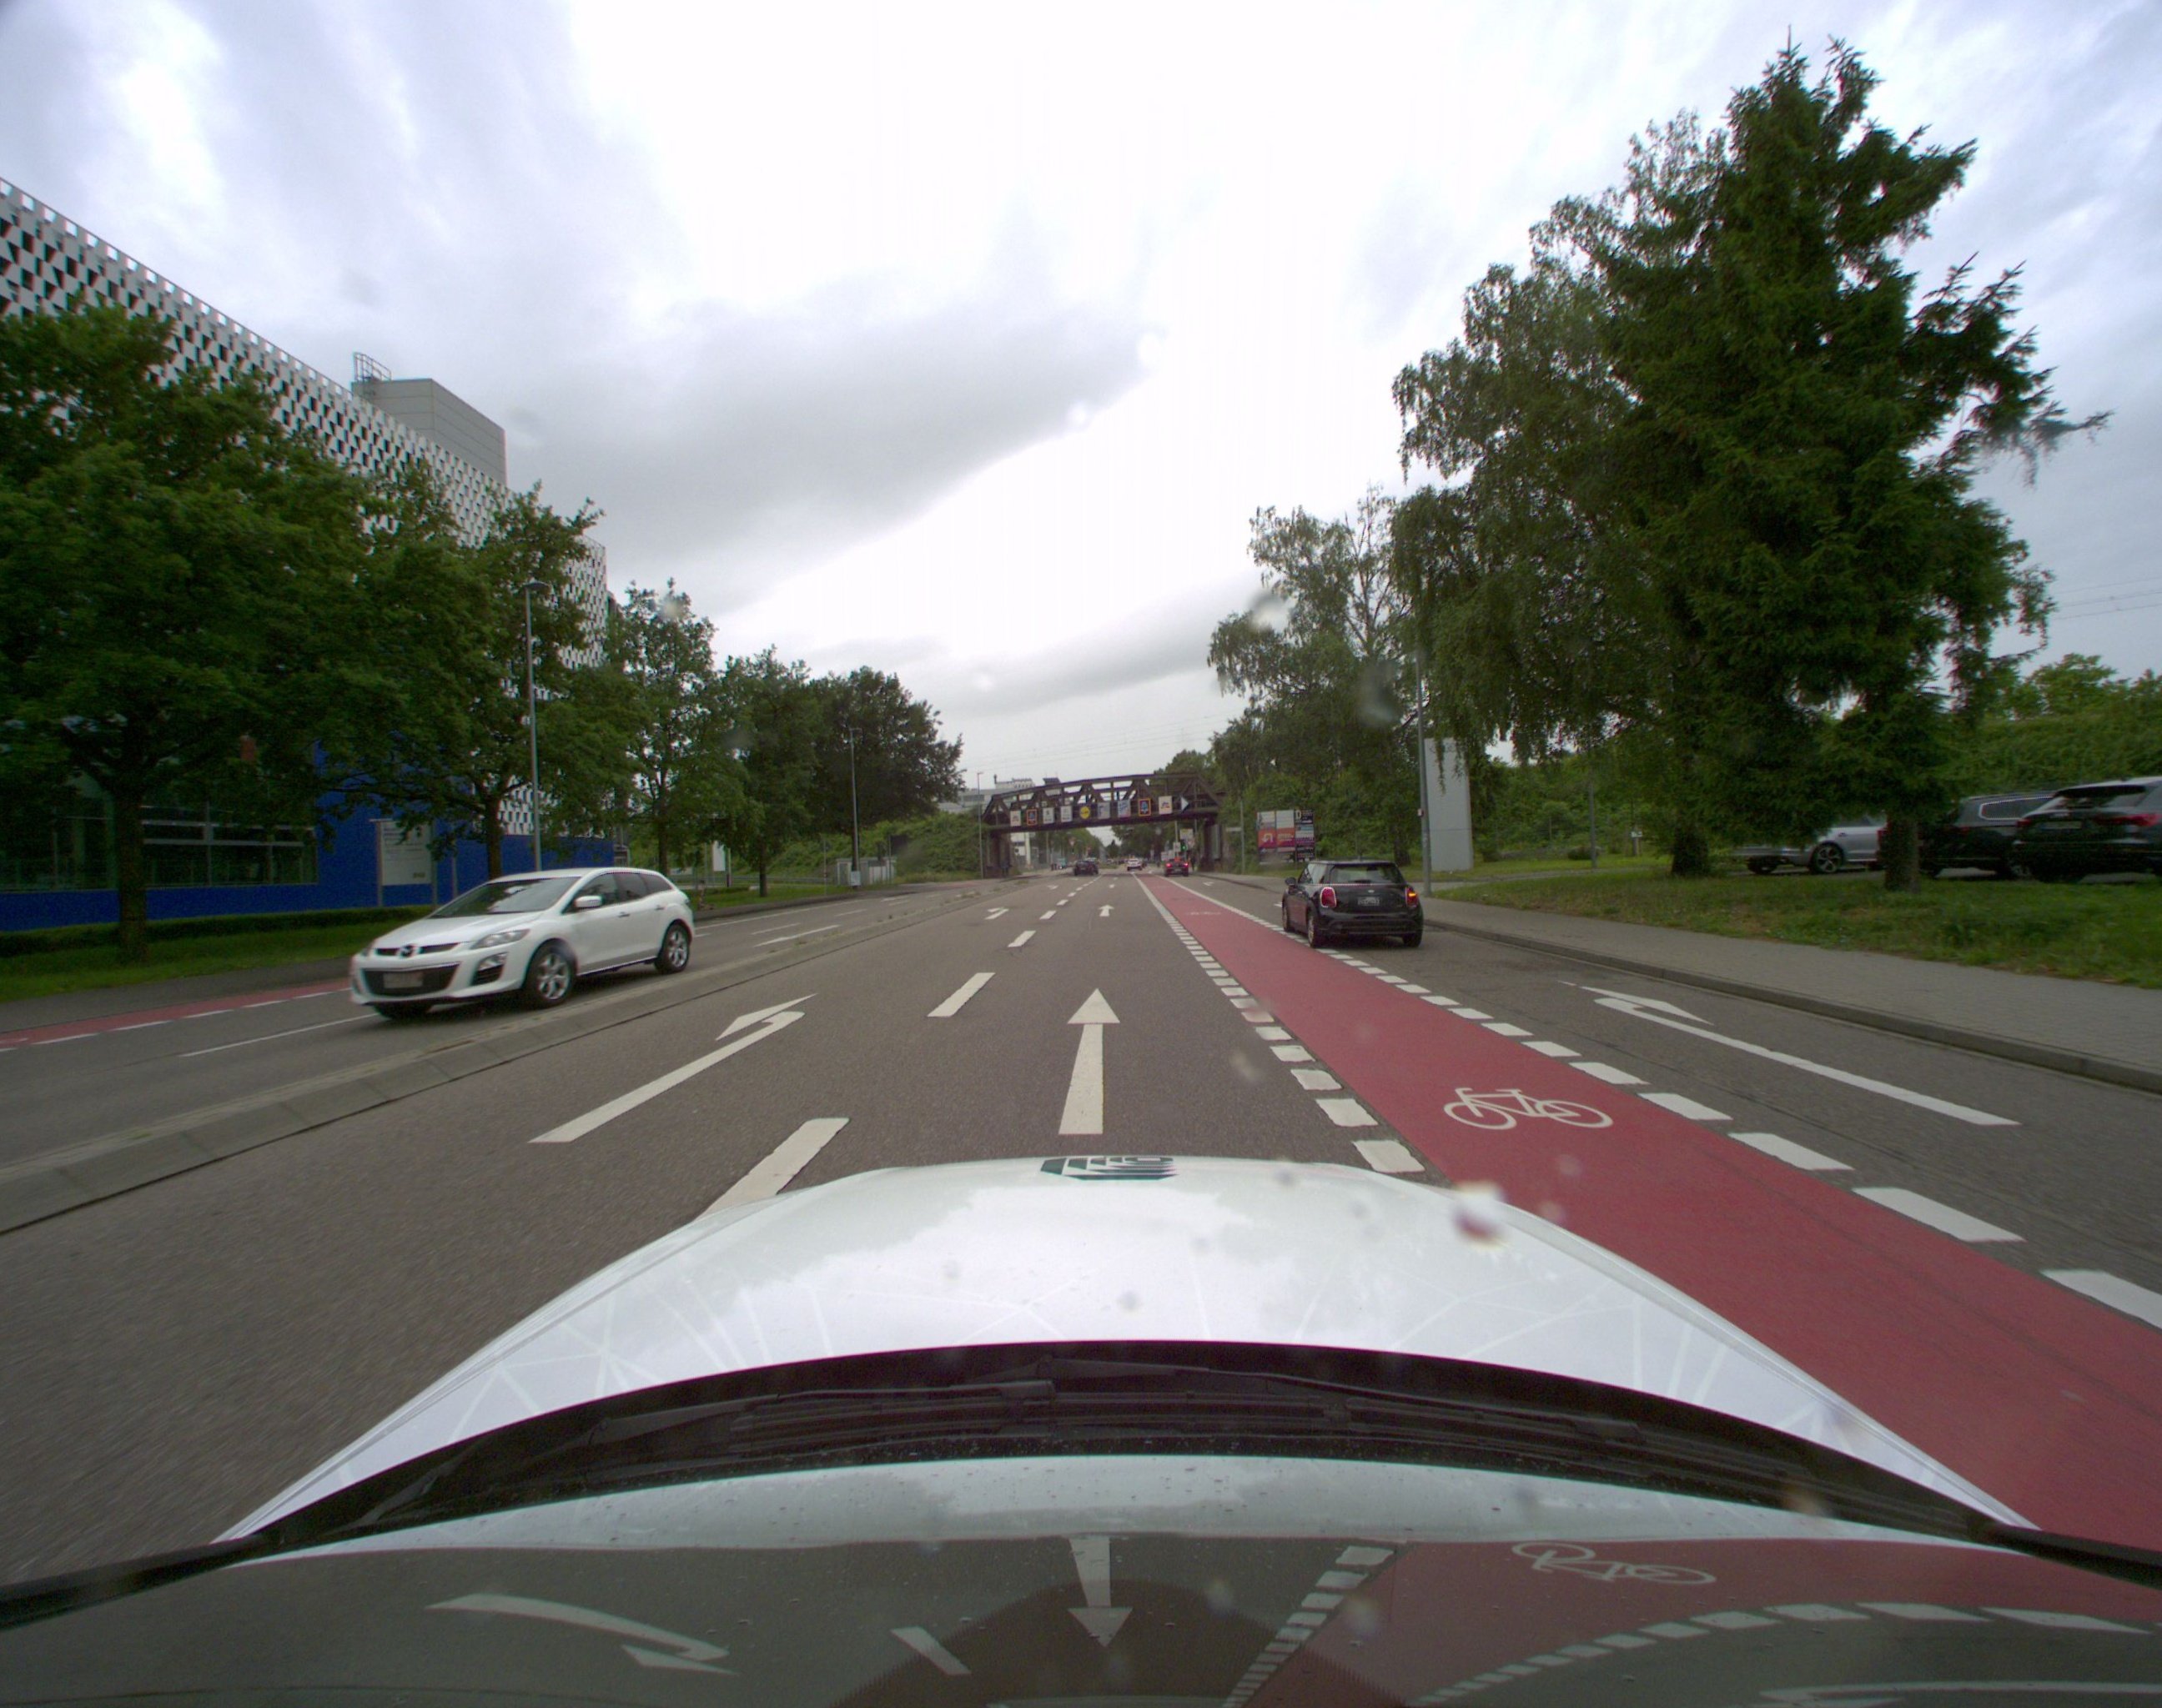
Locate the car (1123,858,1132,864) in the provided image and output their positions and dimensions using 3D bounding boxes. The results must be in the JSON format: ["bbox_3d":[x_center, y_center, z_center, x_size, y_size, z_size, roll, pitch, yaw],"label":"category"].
[{"bbox_3d":[10.670,1.628,188.693,1.790,1.513,3.704,-1,0,-1],"label":"car"}]

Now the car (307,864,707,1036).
[{"bbox_3d":[-6.962,1.016,10.654,1.811,1.587,4.515,-4,0,2],"label":"car"}]

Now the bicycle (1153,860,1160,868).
[{"bbox_3d":[10.772,1.422,115.861,0.813,1.212,2.684,-3,-1,2],"label":"bicycle"}]

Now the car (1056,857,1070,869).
[{"bbox_3d":[-4.178,2.084,191.865,2.317,2.826,5.958,-3,-1,6],"label":"car"}]

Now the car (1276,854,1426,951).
[{"bbox_3d":[4.481,0.730,14.061,1.671,1.431,3.780,-1,0,6],"label":"car"}]

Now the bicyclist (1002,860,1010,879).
[{"bbox_3d":[-7.599,1.576,82.655,0.699,1.874,1.020,-1,-1,3],"label":"bicyclist"}]

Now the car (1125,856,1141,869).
[{"bbox_3d":[6.682,1.090,105.099,1.818,1.600,3.774,-1,0,-1],"label":"car"}]

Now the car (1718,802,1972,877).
[{"bbox_3d":[17.212,-0.318,18.471,4.288,1.489,1.738,-2,0,-4],"label":"car"}]

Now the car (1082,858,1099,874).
[{"bbox_3d":[0.978,1.294,88.349,1.767,1.652,3.668,-1,0,-1],"label":"car"}]

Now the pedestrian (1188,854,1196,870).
[{"bbox_3d":[11.295,0.826,83.063,0.737,1.640,0.781,-2,-1,9],"label":"pedestrian"}]

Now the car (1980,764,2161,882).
[{"bbox_3d":[16.483,-0.406,11.970,4.279,1.601,1.971,0,0,3],"label":"car"}]

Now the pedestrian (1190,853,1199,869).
[{"bbox_3d":[12.907,0.789,92.561,0.866,1.760,0.789,-2,-1,8],"label":"pedestrian"}]

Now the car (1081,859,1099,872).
[{"bbox_3d":[1.066,1.364,100.080,1.956,1.528,5.008,-1,0,-1],"label":"car"}]

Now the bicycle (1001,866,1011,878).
[{"bbox_3d":[-7.598,1.810,82.662,0.710,1.187,2.372,-1,-1,3],"label":"bicycle"}]

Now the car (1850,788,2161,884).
[{"bbox_3d":[16.960,-0.305,14.723,4.283,1.601,1.969,0,0,0],"label":"car"}]

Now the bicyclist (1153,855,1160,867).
[{"bbox_3d":[10.745,0.950,115.863,0.813,1.630,1.236,-3,-1,2],"label":"bicyclist"}]

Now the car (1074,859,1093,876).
[{"bbox_3d":[0.255,1.313,79.428,1.763,1.528,3.668,-1,0,-1],"label":"car"}]

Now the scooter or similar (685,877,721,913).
[{"bbox_3d":[-15.251,1.637,32.848,0.444,1.321,1.510,-3,-1,12],"label":"scooter or similar"}]

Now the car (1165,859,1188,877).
[{"bbox_3d":[7.423,1.057,63.411,1.639,1.281,3.425,-1,0,5],"label":"car"}]
